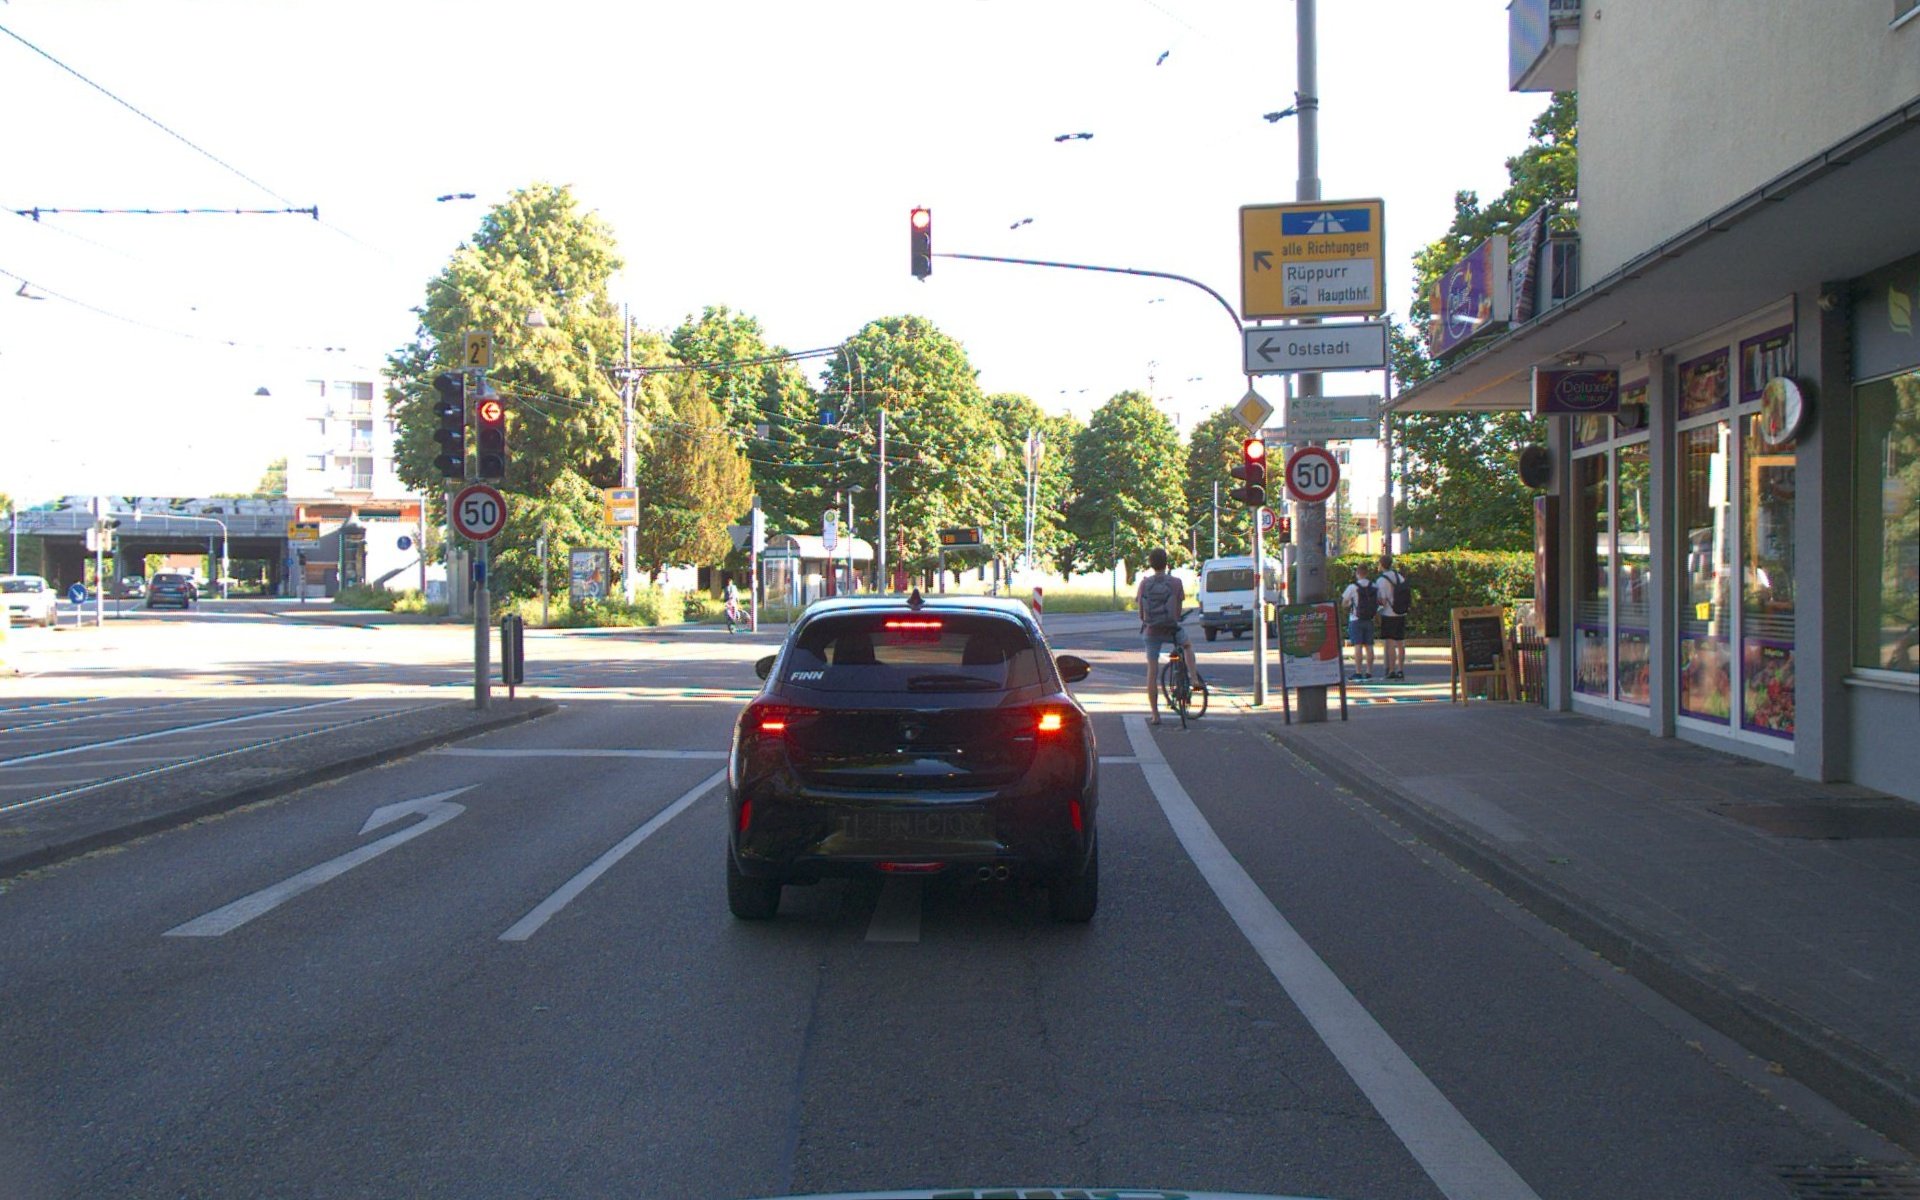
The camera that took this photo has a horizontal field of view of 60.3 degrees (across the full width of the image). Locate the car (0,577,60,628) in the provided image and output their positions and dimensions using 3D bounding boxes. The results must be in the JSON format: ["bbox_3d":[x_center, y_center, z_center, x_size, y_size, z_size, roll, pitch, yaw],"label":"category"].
[{"bbox_3d":[-31.117,0.069,54.830,1.860,1.613,3.809,1,0,-24],"label":"car"}]

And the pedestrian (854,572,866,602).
[{"bbox_3d":[-6.285,-0.807,104.144,0.723,1.904,0.661,1,-1,-7],"label":"pedestrian"}]

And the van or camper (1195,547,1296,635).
[{"bbox_3d":[8.060,-0.226,46.383,1.987,2.351,4.540,1,0,20],"label":"van or camper"}]

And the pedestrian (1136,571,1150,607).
[{"bbox_3d":[9.901,-0.590,89.434,0.592,1.904,0.519,1,-1,-7],"label":"pedestrian"}]

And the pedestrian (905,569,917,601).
[{"bbox_3d":[-2.951,-0.884,100.123,0.607,1.904,0.520,1,-1,7],"label":"pedestrian"}]

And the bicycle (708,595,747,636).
[{"bbox_3d":[-6.462,0.415,46.059,0.780,1.083,2.184,0,1,-1],"label":"bicycle"}]

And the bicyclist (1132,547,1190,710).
[{"bbox_3d":[2.161,0.296,17.739,0.522,1.722,0.568,0,0,16],"label":"bicyclist"}]

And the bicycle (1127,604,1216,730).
[{"bbox_3d":[2.318,0.687,17.910,0.737,1.256,2.017,0,1,14],"label":"bicycle"}]

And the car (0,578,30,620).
[{"bbox_3d":[-39.673,-0.043,68.277,1.774,1.691,4.325,-1,1,-23],"label":"car"}]

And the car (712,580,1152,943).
[{"bbox_3d":[-0.140,0.645,8.793,1.803,1.487,3.983,0,1,-1],"label":"car"}]

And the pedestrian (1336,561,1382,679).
[{"bbox_3d":[6.178,0.307,25.596,0.620,1.794,0.582,1,-1,19],"label":"pedestrian"}]

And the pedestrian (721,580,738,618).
[{"bbox_3d":[-9.091,-0.031,65.179,0.558,1.498,0.666,0,0,1],"label":"pedestrian"}]

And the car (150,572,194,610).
[{"bbox_3d":[-40.551,-0.471,85.164,1.883,1.914,4.810,-1,1,-24],"label":"car"}]

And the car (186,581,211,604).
[{"bbox_3d":[-59.250,-0.570,128.766,1.732,1.713,3.712,1,0,-25],"label":"car"}]

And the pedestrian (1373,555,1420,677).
[{"bbox_3d":[6.749,0.244,25.559,0.620,1.852,0.745,1,-1,19],"label":"pedestrian"}]

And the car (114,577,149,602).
[{"bbox_3d":[-55.535,-0.678,110.939,1.860,1.613,3.809,1,0,-24],"label":"car"}]

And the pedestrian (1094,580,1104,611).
[{"bbox_3d":[8.382,-0.270,99.673,0.591,1.904,0.520,1,-1,7],"label":"pedestrian"}]
